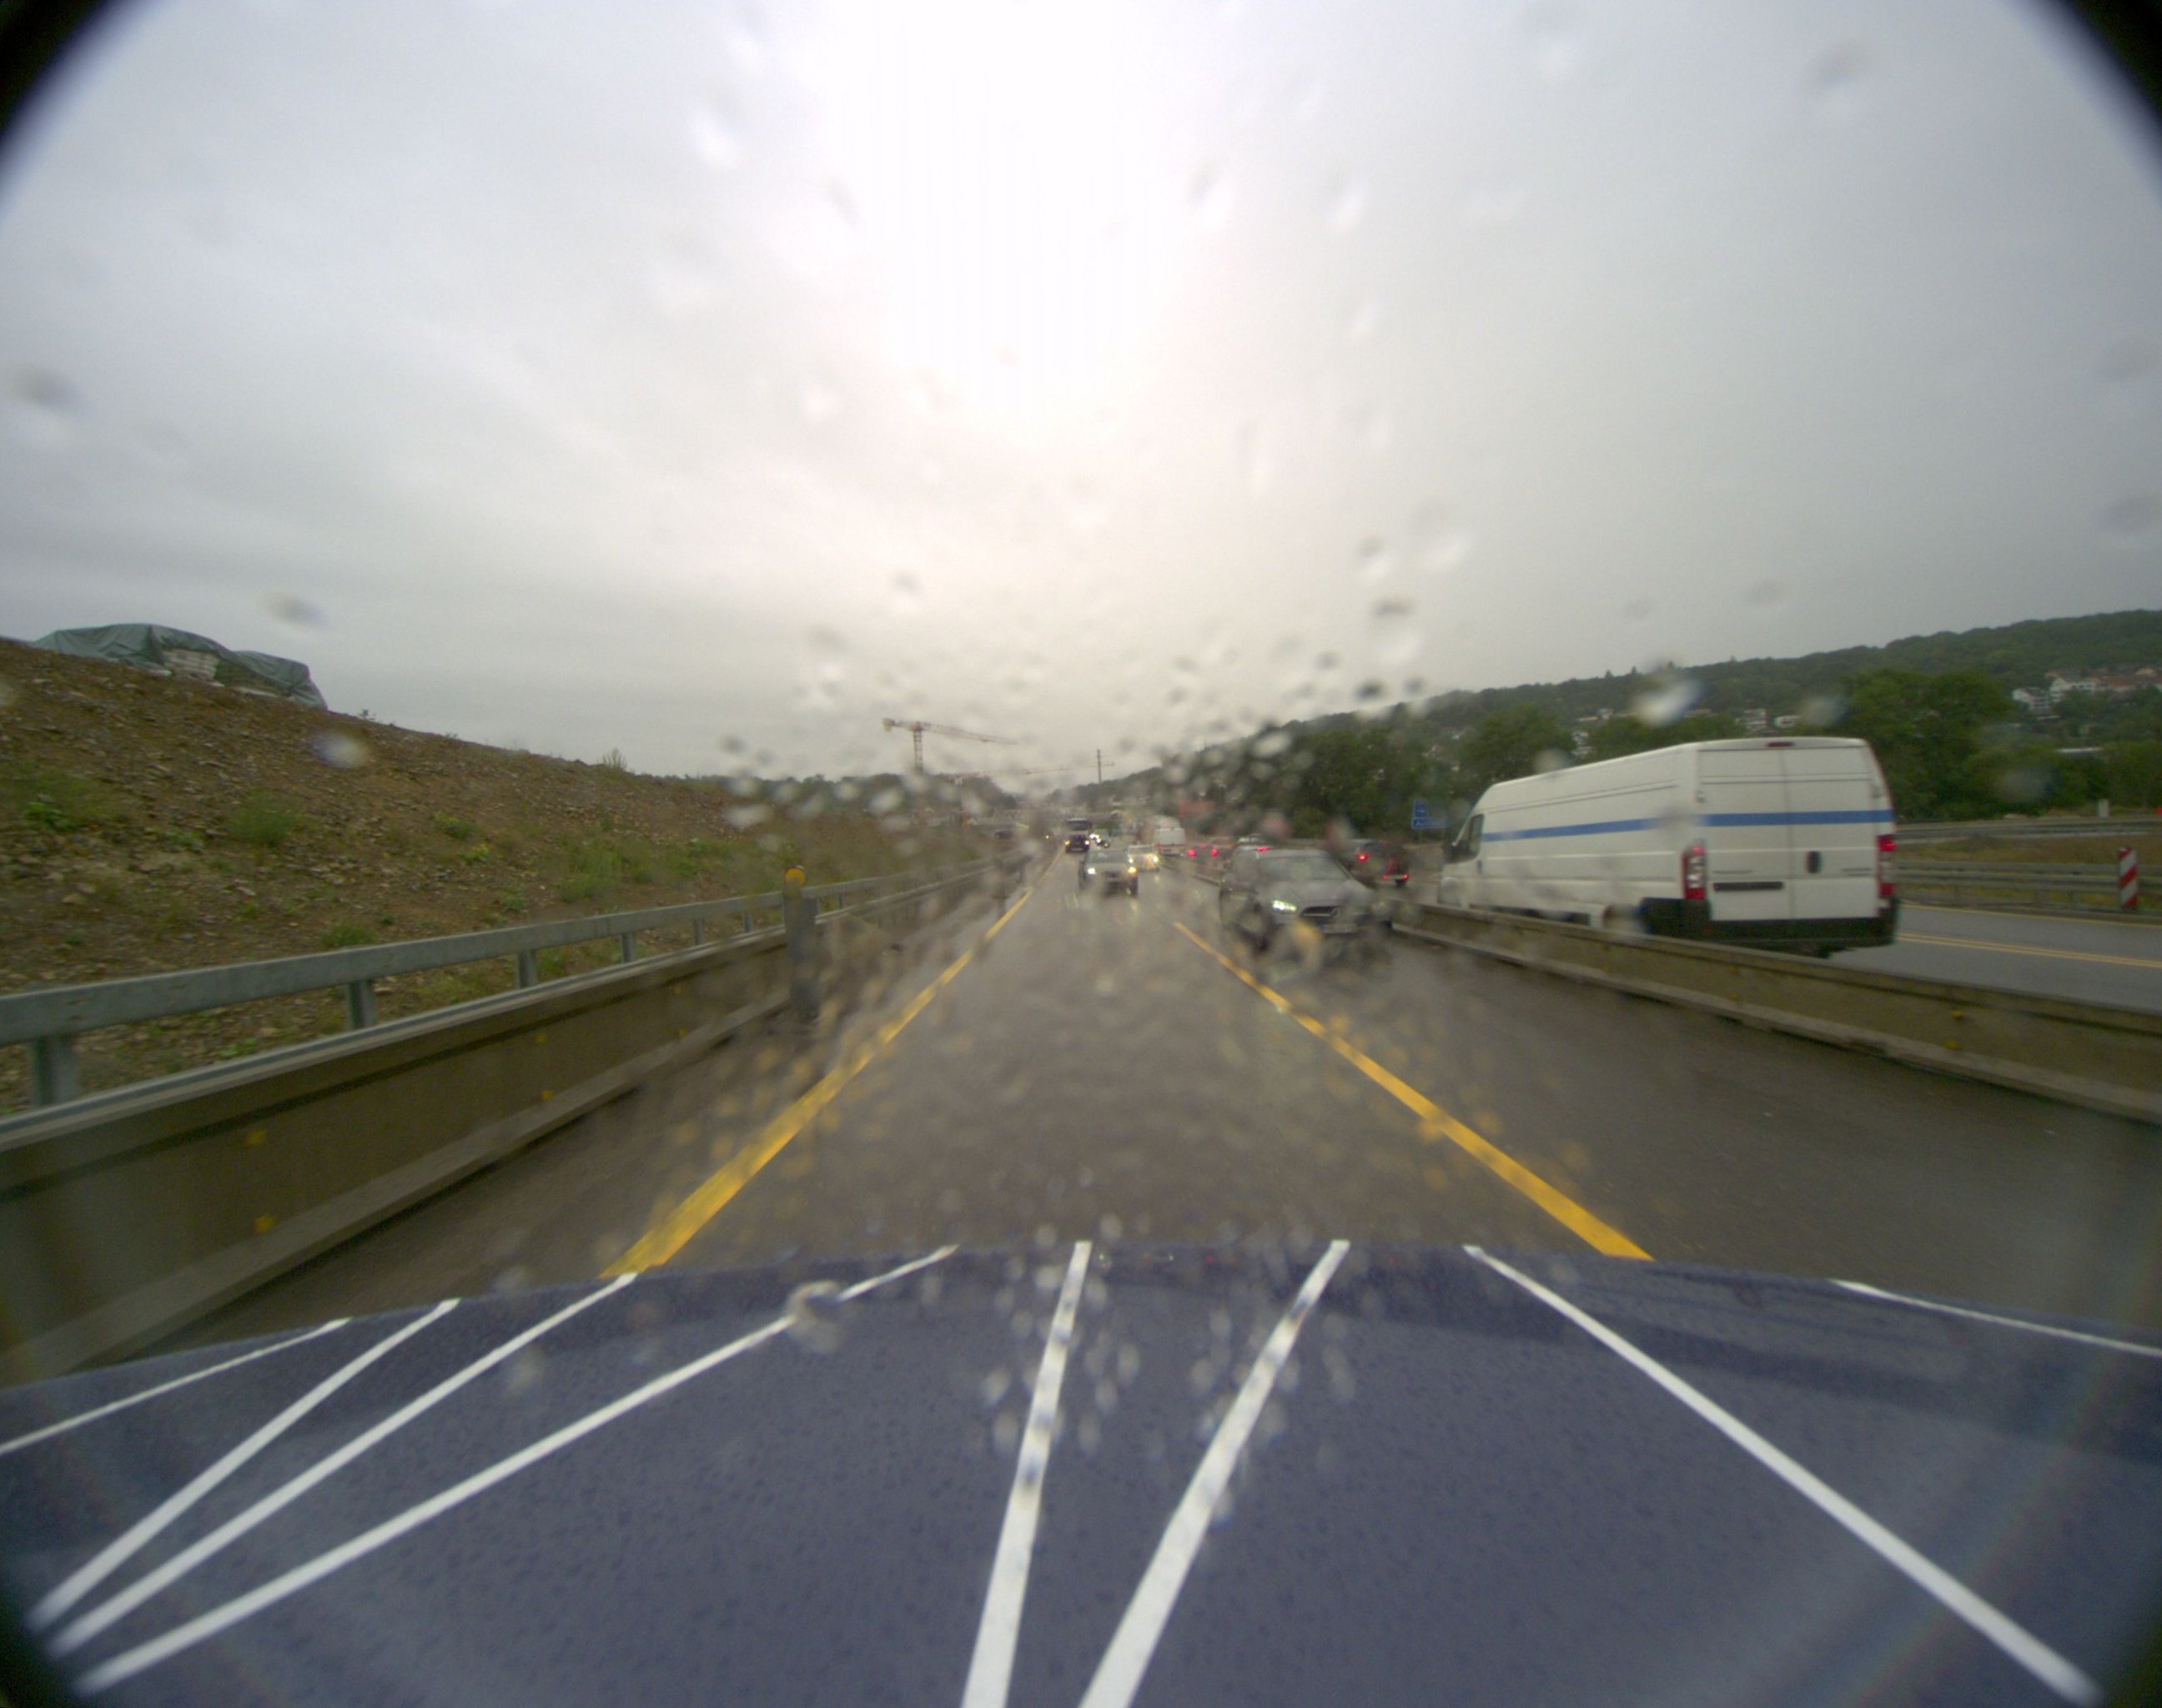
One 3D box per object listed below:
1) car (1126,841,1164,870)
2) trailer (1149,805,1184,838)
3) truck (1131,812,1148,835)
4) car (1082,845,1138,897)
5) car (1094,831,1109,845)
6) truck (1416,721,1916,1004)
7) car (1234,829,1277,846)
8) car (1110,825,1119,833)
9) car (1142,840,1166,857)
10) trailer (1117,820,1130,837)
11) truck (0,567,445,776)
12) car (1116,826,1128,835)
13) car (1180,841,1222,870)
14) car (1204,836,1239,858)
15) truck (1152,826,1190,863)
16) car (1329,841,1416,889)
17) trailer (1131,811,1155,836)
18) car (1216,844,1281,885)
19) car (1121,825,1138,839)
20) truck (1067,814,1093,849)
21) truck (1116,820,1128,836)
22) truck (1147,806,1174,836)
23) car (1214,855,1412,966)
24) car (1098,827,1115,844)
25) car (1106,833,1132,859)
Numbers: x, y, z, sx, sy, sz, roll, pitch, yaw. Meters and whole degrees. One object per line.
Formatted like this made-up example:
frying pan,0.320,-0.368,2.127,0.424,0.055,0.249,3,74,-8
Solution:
car,3.584,0.046,43.146,1.781,1.430,4.481,-1,3,1
trailer,10.187,-3.949,91.702,2.627,3.657,11.997,-2,2,-1
truck,10.808,-5.697,141.066,2.756,4.040,6.145,-1,3,0
car,0.970,0.545,26.825,1.781,1.515,4.138,-1,3,1
car,2.941,-2.349,110.614,1.999,2.003,3.998,-2,3,-1
truck,7.050,0.044,10.416,2.153,2.698,6.014,-2,1,-1
car,19.382,-1.863,84.644,1.853,1.691,5.033,-3,3,-28
car,7.451,-5.591,167.863,1.792,1.796,5.187,0,3,0
car,6.789,-0.532,71.315,1.777,1.496,4.677,-1,2,0
trailer,10.093,-6.127,181.173,2.693,3.942,9.814,0,3,0
truck,-19.399,-3.443,16.404,3.403,2.859,8.956,-1,3,2
car,7.667,-4.445,143.321,1.998,1.749,4.685,-1,2,0
car,6.970,0.049,44.589,1.791,1.530,4.310,-1,2,0
car,10.260,-0.543,55.874,1.792,1.538,3.999,-2,2,0
truck,6.690,-0.802,57.181,2.084,2.562,5.958,-2,3,0
car,10.154,0.330,26.749,1.729,1.515,3.876,-1,1,3
trailer,10.772,-5.370,133.294,2.756,4.020,15.351,-1,2,0
car,6.776,0.358,31.186,1.681,1.515,4.344,-1,1,0
car,6.471,-2.899,101.344,1.870,1.790,4.160,-2,2,0
truck,-0.063,-2.413,79.309,2.576,3.452,6.624,-1,3,1
truck,10.098,-6.352,186.489,2.693,3.906,5.271,0,3,0
truck,10.115,-4.186,97.433,2.627,3.657,6.591,-2,2,-1
car,3.567,0.779,12.642,1.951,1.430,4.483,-1,1,1
car,3.206,-2.302,97.188,1.999,2.002,4.186,-2,0,0
car,3.101,-0.685,61.910,1.998,2.002,4.000,-1,2,4
